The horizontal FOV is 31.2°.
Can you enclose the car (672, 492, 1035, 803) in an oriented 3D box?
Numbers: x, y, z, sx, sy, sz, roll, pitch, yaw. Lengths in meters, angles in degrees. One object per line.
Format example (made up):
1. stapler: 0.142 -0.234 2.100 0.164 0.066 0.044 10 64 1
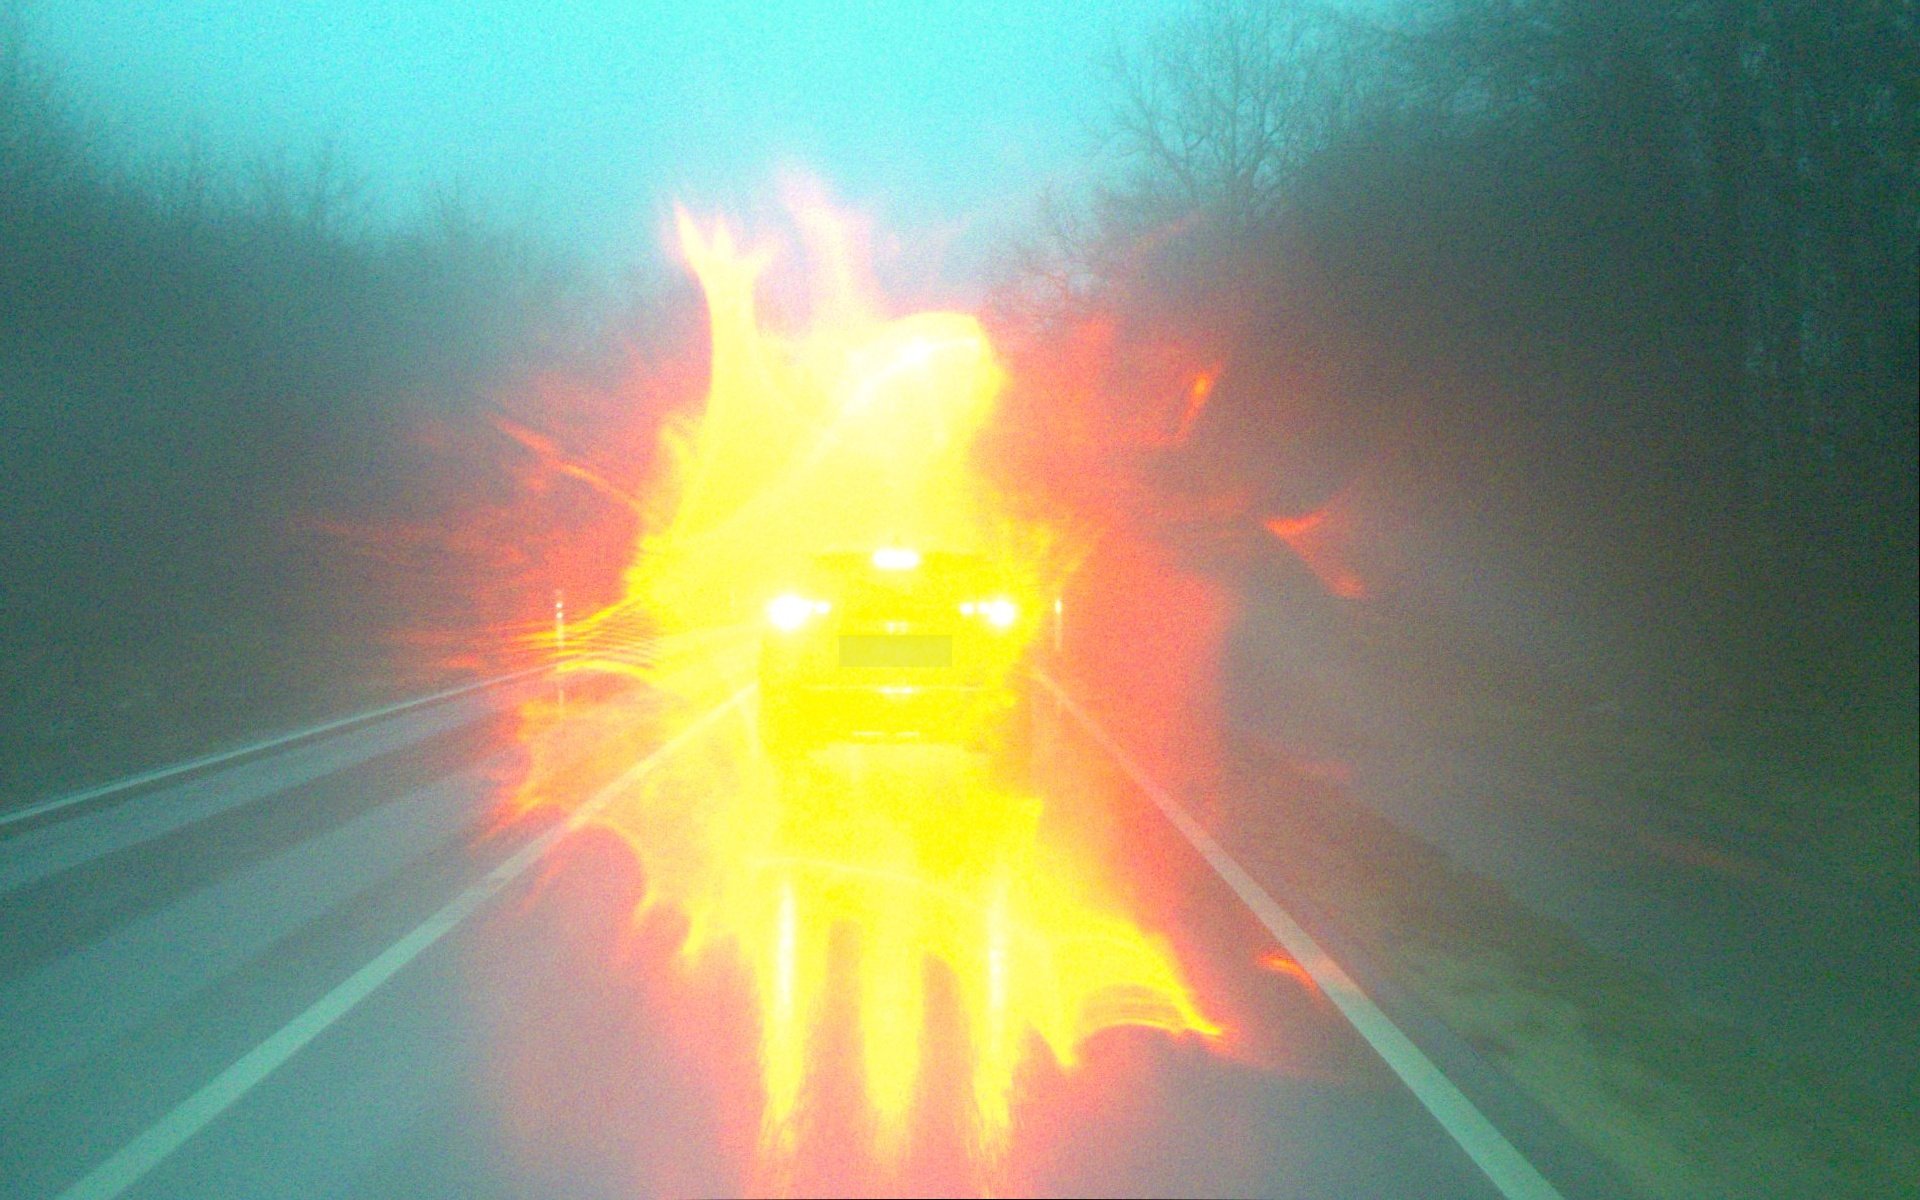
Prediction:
1. car: -0.695 0.258 23.560 2.198 1.871 4.827 1 1 -1
